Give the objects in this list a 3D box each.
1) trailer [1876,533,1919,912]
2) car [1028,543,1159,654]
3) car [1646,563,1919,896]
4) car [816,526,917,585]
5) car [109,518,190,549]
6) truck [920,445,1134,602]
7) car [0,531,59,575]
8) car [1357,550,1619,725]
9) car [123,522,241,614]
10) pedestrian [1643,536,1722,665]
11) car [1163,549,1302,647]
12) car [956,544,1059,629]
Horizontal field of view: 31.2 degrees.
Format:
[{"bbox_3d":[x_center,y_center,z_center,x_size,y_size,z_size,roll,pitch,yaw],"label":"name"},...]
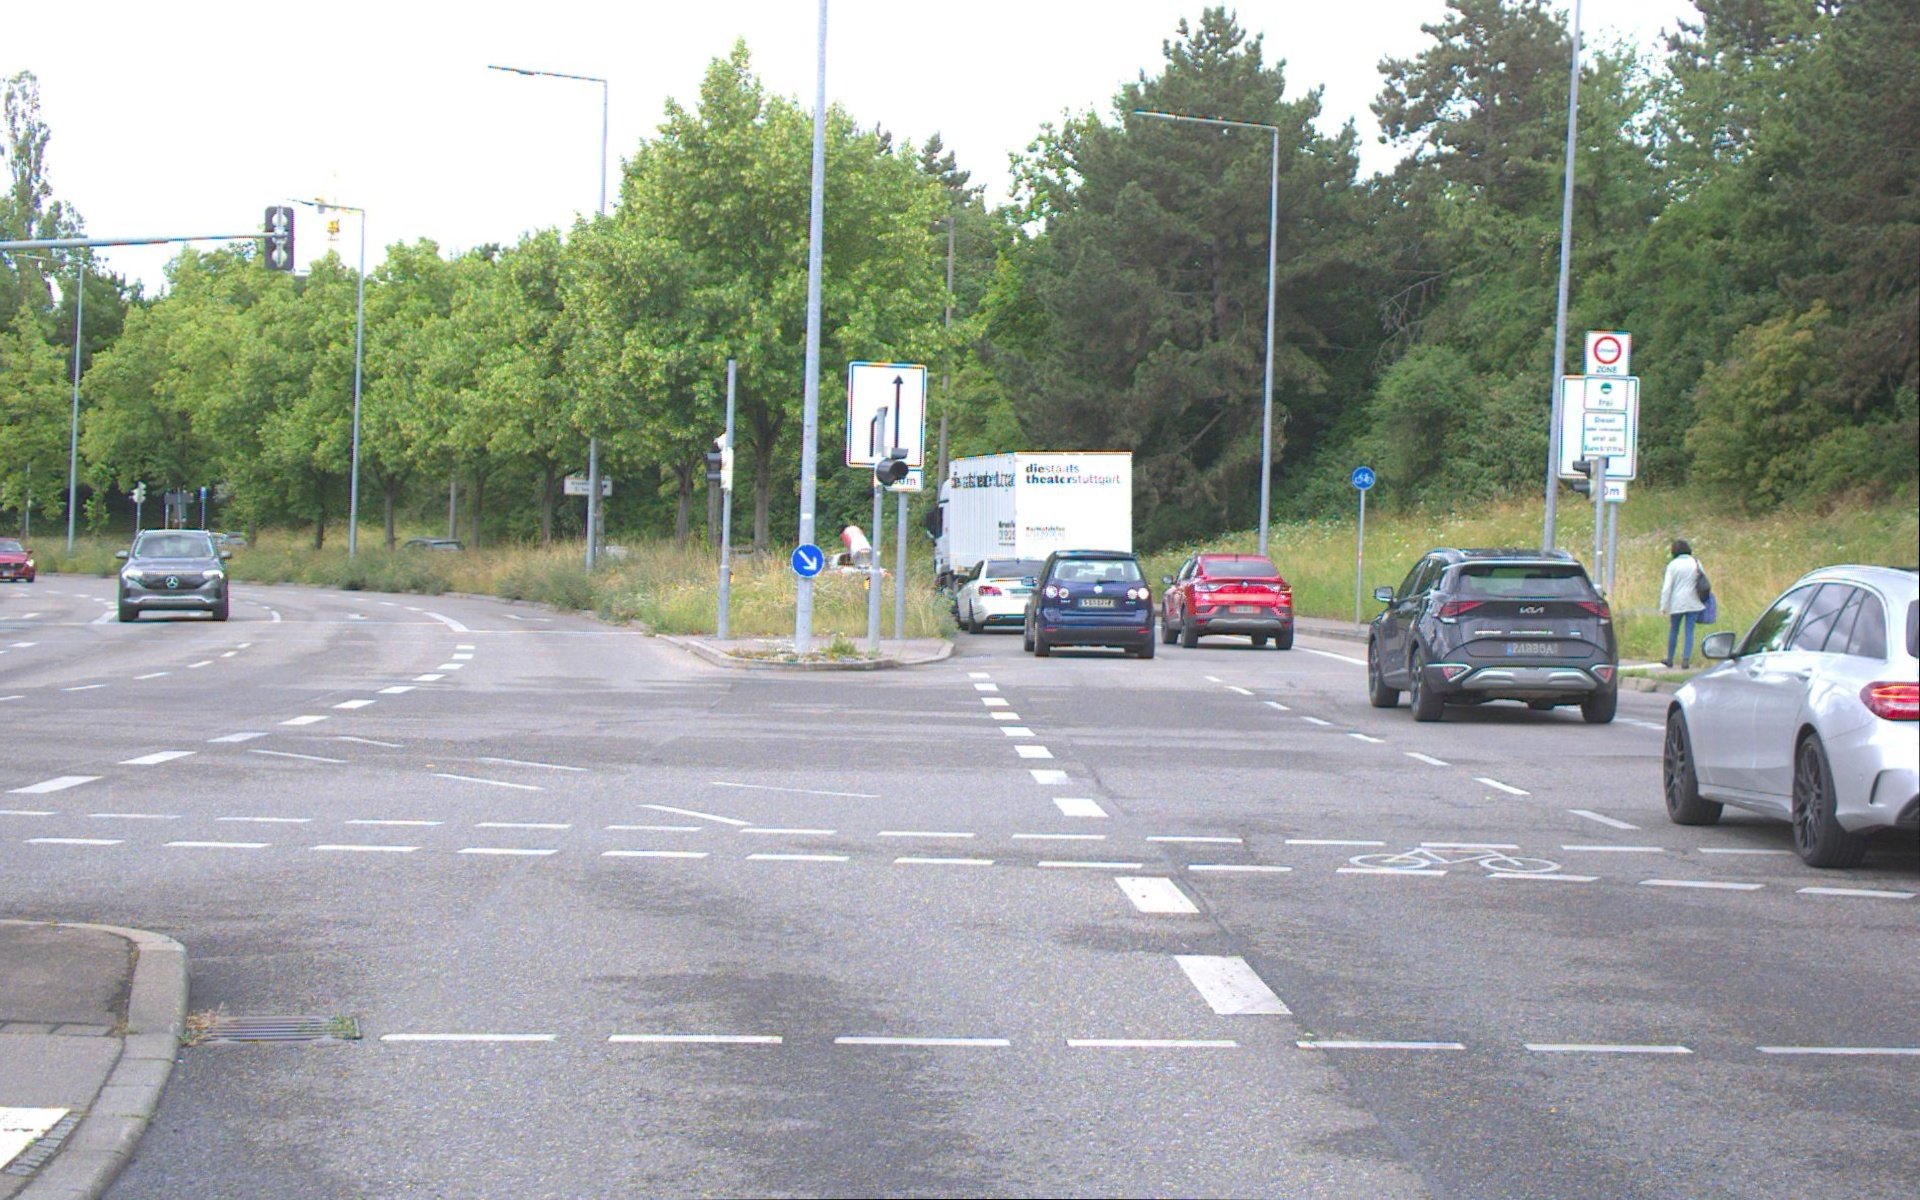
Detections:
[{"bbox_3d":[5.011,0.554,13.769,1.764,1.610,3.044,1,1,-2],"label":"trailer"},{"bbox_3d":[2.018,-0.058,50.952,1.778,1.541,4.024,1,1,4],"label":"car"},{"bbox_3d":[4.891,0.558,17.439,1.778,1.416,4.459,1,1,-2],"label":"car"},{"bbox_3d":[-2.563,-1.234,93.445,1.777,1.541,4.026,0,1,-16],"label":"car"},{"bbox_3d":[-41.659,-3.404,176.824,1.781,1.541,4.018,1,1,30],"label":"car"},{"bbox_3d":[1.367,-1.772,79.128,2.739,3.317,11.410,1,1,-10],"label":"truck"},{"bbox_3d":[-30.992,-1.561,113.106,1.780,1.438,4.426,0,1,-26],"label":"car"},{"bbox_3d":[5.043,0.314,33.320,1.778,1.541,4.025,1,1,-2],"label":"car"},{"bbox_3d":[-13.693,-0.595,60.674,1.777,1.541,4.226,1,1,-10],"label":"car"},{"bbox_3d":[9.278,-0.001,44.182,0.814,1.622,0.791,1,1,-1],"label":"pedestrian"},{"bbox_3d":[4.518,-0.060,57.522,1.778,1.541,4.025,1,1,-3],"label":"car"},{"bbox_3d":[0.888,-0.290,66.429,1.778,1.541,4.025,1,1,-2],"label":"car"}]
